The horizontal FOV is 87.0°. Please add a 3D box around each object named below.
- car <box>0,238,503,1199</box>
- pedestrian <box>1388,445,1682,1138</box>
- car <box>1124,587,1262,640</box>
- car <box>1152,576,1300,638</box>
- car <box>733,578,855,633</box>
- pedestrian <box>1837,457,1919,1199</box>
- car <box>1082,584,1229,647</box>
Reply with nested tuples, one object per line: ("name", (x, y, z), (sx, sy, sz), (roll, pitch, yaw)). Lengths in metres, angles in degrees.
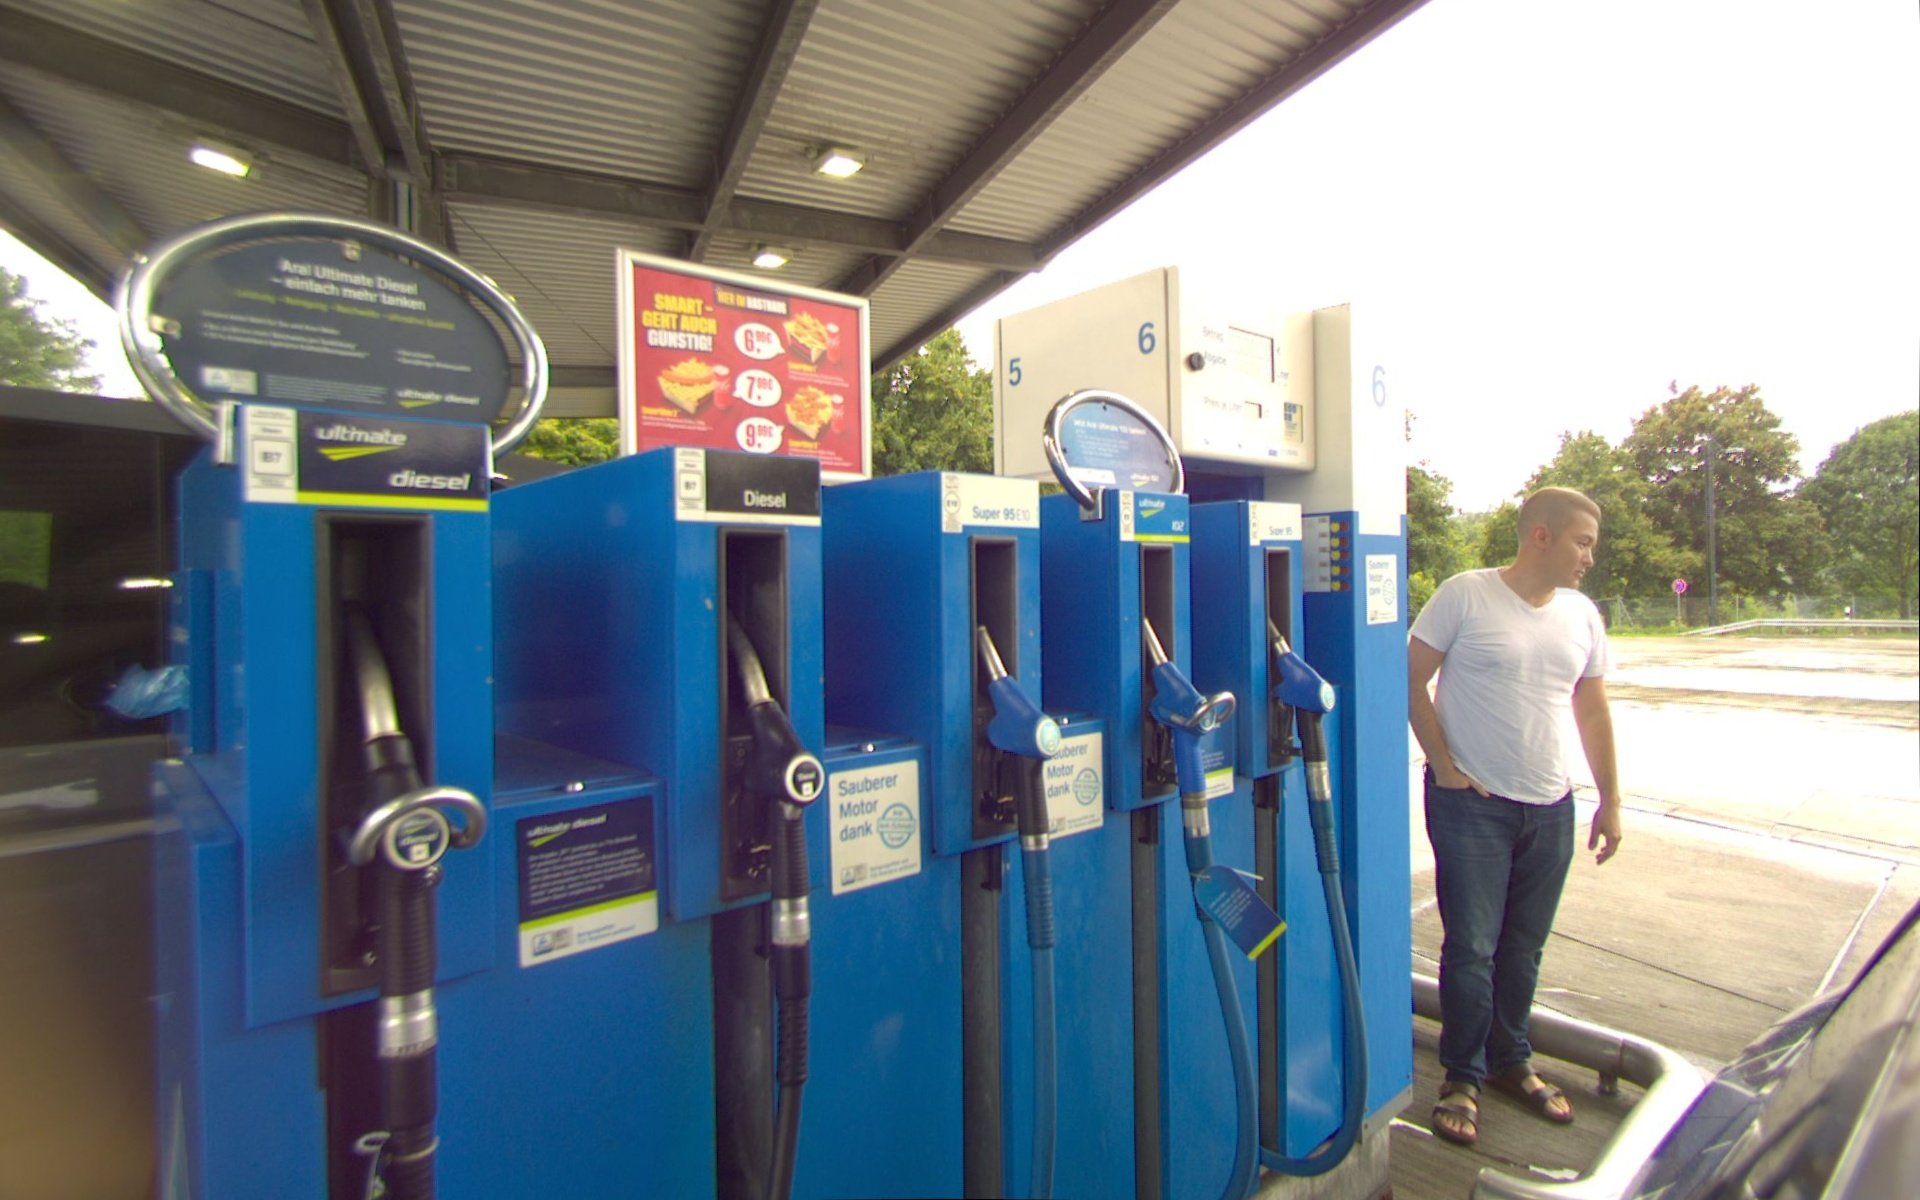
("car", (-3.013, 0.408, 1.482), (3.930, 1.973, 1.819), (0, 0, -41))
("pedestrian", (1.653, 0.506, 2.988), (0.625, 1.832, 0.492), (-1, 1, 15))
("car", (7.410, 0.404, 32.150), (4.123, 1.576, 1.990), (1, 0, 17))
("car", (8.947, 0.207, 34.335), (4.700, 2.011, 2.007), (0, 0, 14))
("car", (-5.522, 0.149, 33.450), (1.967, 1.683, 4.170), (0, 0, -44))
("pedestrian", (2.703, 0.549, 2.408), (0.783, 1.756, 0.838), (0, 1, -43))
("car", (5.821, 0.420, 30.016), (4.123, 1.752, 1.990), (1, 0, 17))
